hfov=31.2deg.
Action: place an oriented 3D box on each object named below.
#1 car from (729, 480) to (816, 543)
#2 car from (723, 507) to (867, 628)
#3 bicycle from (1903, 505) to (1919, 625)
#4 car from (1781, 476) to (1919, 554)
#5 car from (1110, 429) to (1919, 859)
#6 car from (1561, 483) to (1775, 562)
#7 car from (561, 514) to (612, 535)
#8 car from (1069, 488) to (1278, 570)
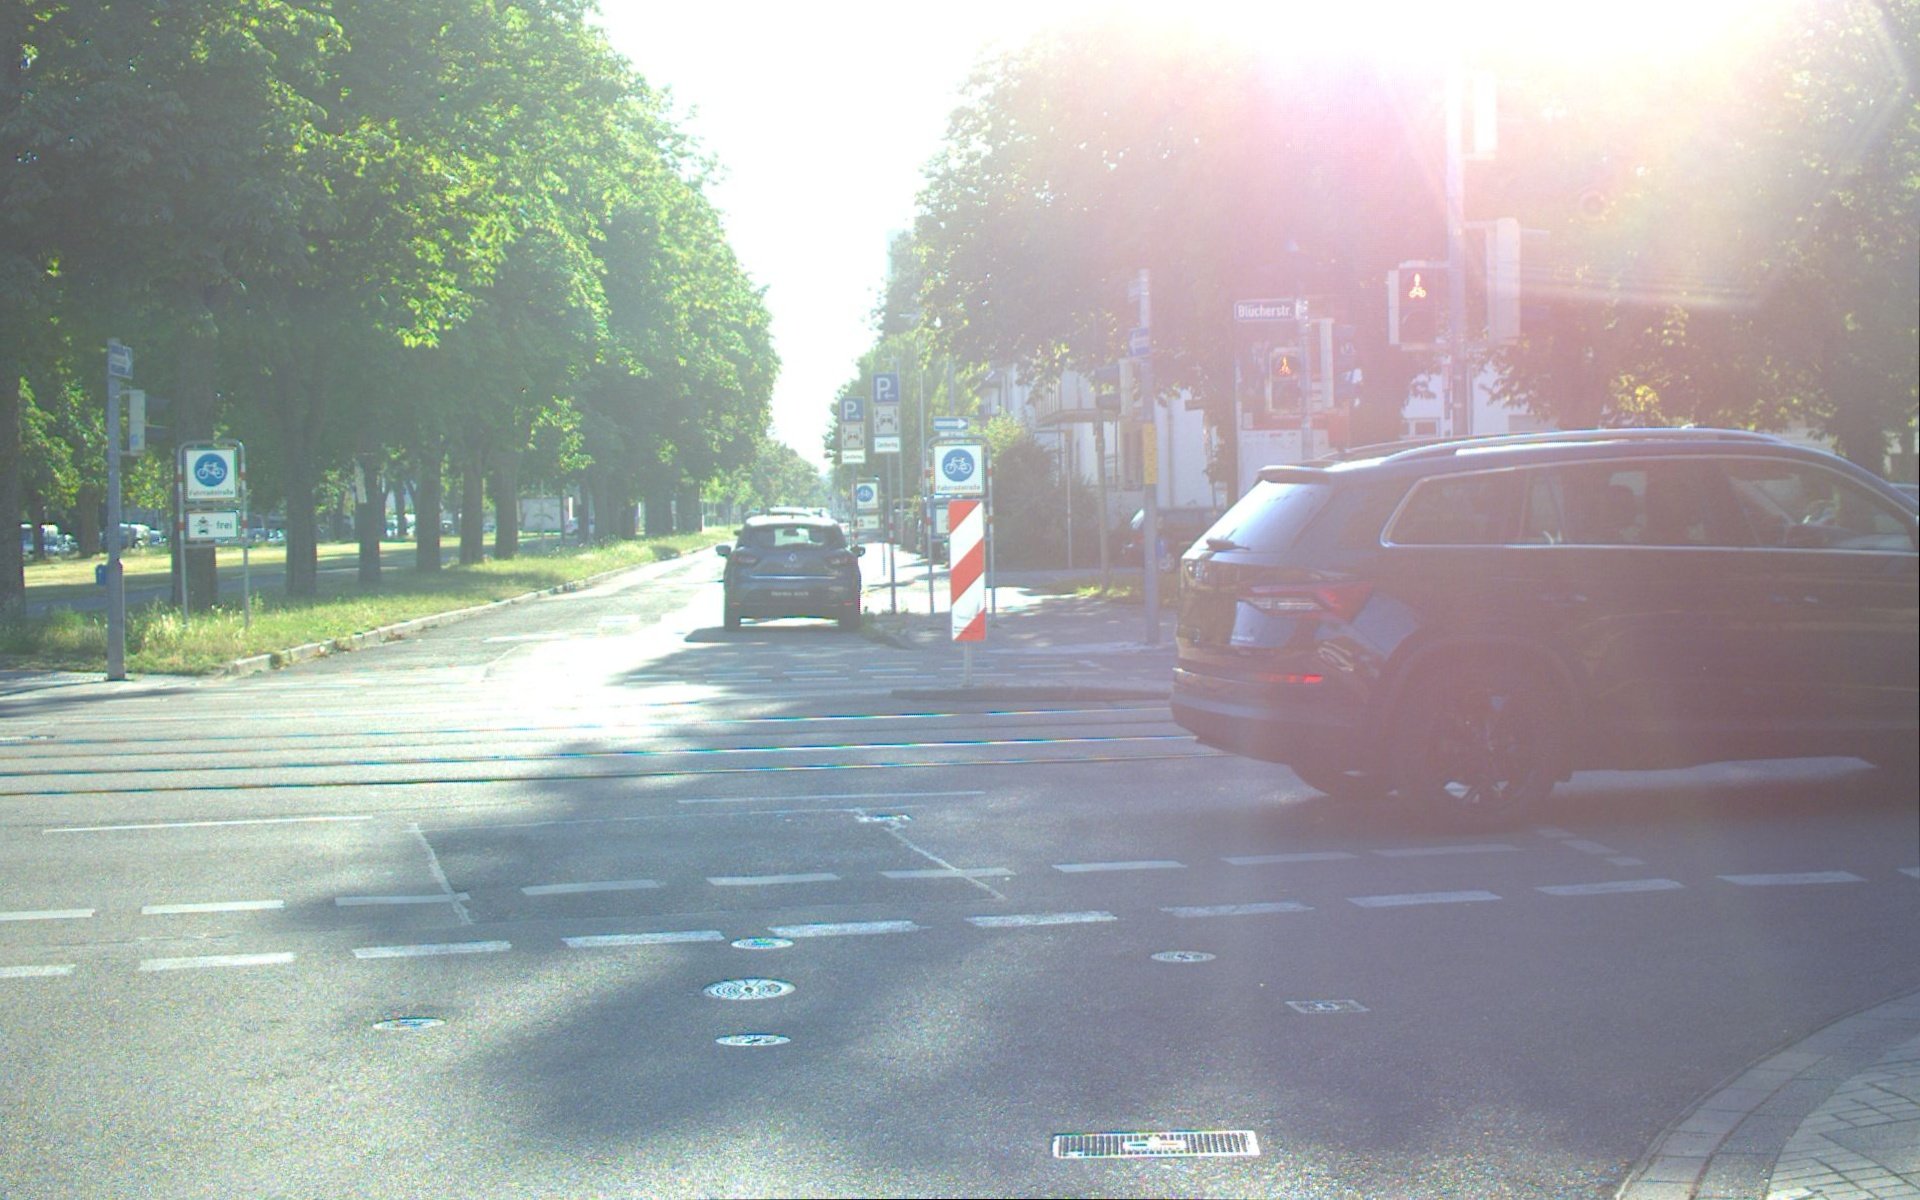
[{"bbox_3d":[-4.252,-2.018,78.228,1.845,1.389,3.829,-1,2,-1],"label":"car"},{"bbox_3d":[-2.072,-0.443,43.867,1.641,1.446,3.307,-1,2,0],"label":"car"},{"bbox_3d":[10.076,-0.357,32.839,1.954,1.128,0.620,-1,1,1],"label":"bicycle"},{"bbox_3d":[17.919,-1.651,66.010,3.844,1.422,1.598,-1,1,-6],"label":"car"},{"bbox_3d":[3.129,0.116,15.307,4.547,1.658,1.880,-2,2,-11],"label":"car"},{"bbox_3d":[13.418,-1.475,65.239,3.662,1.422,1.532,-1,1,-6],"label":"car"},{"bbox_3d":[-26.565,-5.375,244.670,3.519,1.422,1.603,-1,1,-3],"label":"car"},{"bbox_3d":[4.008,-1.351,64.968,3.779,1.422,1.744,-1,3,-2],"label":"car"}]
